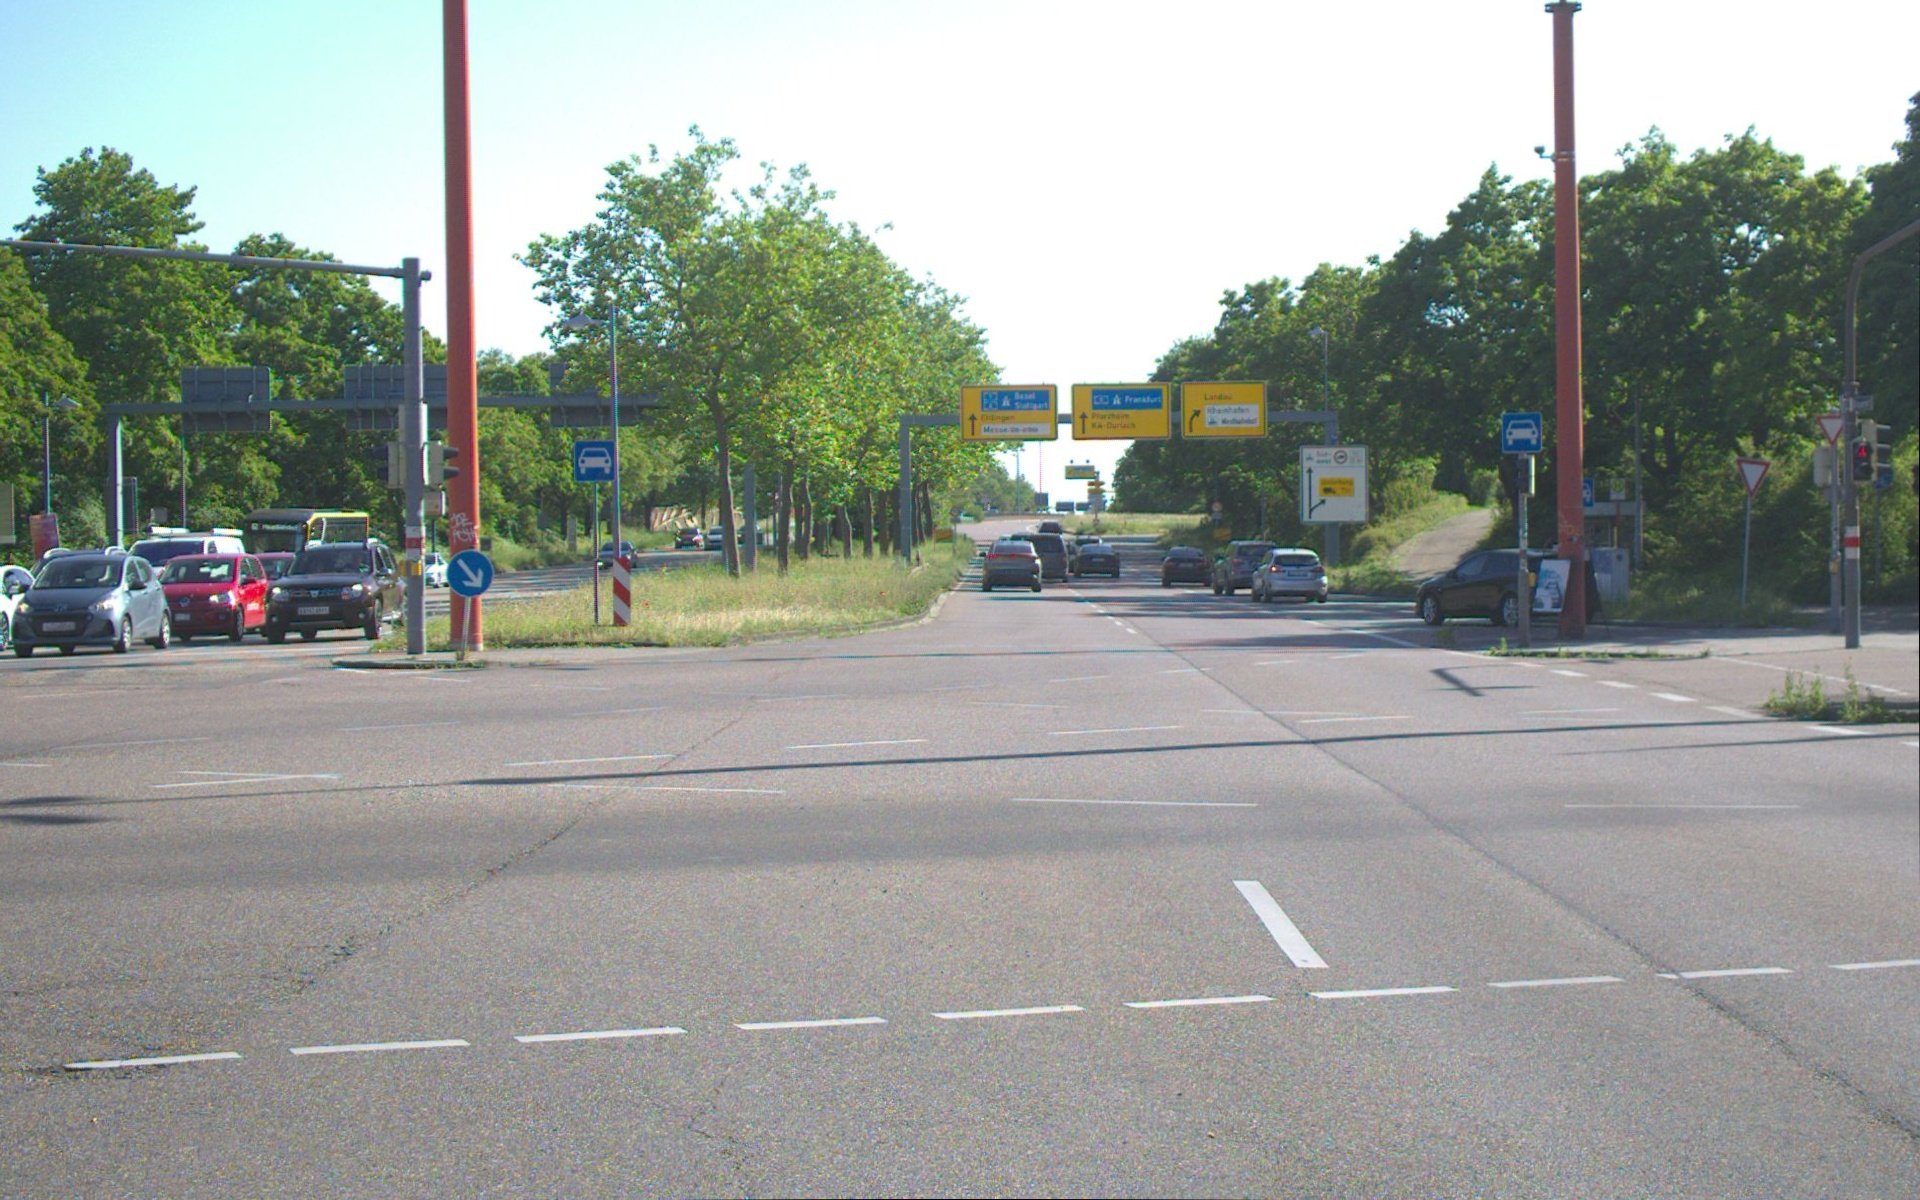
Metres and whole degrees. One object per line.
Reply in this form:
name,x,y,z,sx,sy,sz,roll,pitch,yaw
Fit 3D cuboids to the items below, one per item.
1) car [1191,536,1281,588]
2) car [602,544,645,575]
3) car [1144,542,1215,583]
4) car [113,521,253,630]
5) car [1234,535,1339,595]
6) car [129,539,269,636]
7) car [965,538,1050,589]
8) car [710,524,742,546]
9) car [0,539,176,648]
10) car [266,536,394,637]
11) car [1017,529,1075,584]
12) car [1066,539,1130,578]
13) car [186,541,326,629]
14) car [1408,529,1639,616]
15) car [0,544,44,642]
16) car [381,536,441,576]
car,8.608,-1.199,107.384,2.158,1.568,4.281,-1,1,-4
car,-17.559,-2.132,179.686,1.993,1.568,4.121,-1,1,-3
car,7.843,-1.355,123.233,1.953,1.437,4.281,-1,1,-4
car,-16.117,-0.531,71.513,2.062,2.185,4.379,-1,1,-2
car,8.898,-0.975,94.097,2.158,1.568,4.281,-1,1,-4
car,-12.901,-0.238,58.473,1.993,1.568,4.122,-1,1,-8
car,1.485,-1.168,109.205,2.245,1.568,4.282,-1,1,-5
car,-15.888,-4.428,233.362,1.884,1.449,3.656,-1,1,0
car,-13.255,-0.134,52.172,1.993,1.568,4.121,-1,1,-3
car,-10.249,-0.247,56.153,1.876,1.568,4.122,-1,1,-8
car,3.172,-1.626,128.036,1.993,2.007,4.000,0,1,-1
car,5.656,-1.705,141.500,2.158,1.568,4.281,-1,1,-4
car,-13.119,-0.298,64.252,1.993,1.568,4.121,-1,1,-4
car,10.659,-0.533,65.284,2.159,1.568,4.281,-1,1,-28
car,-16.491,-0.120,57.041,1.993,1.568,4.122,-2,1,-8
car,-22.109,-1.772,138.629,1.993,1.568,4.121,-1,1,-4
